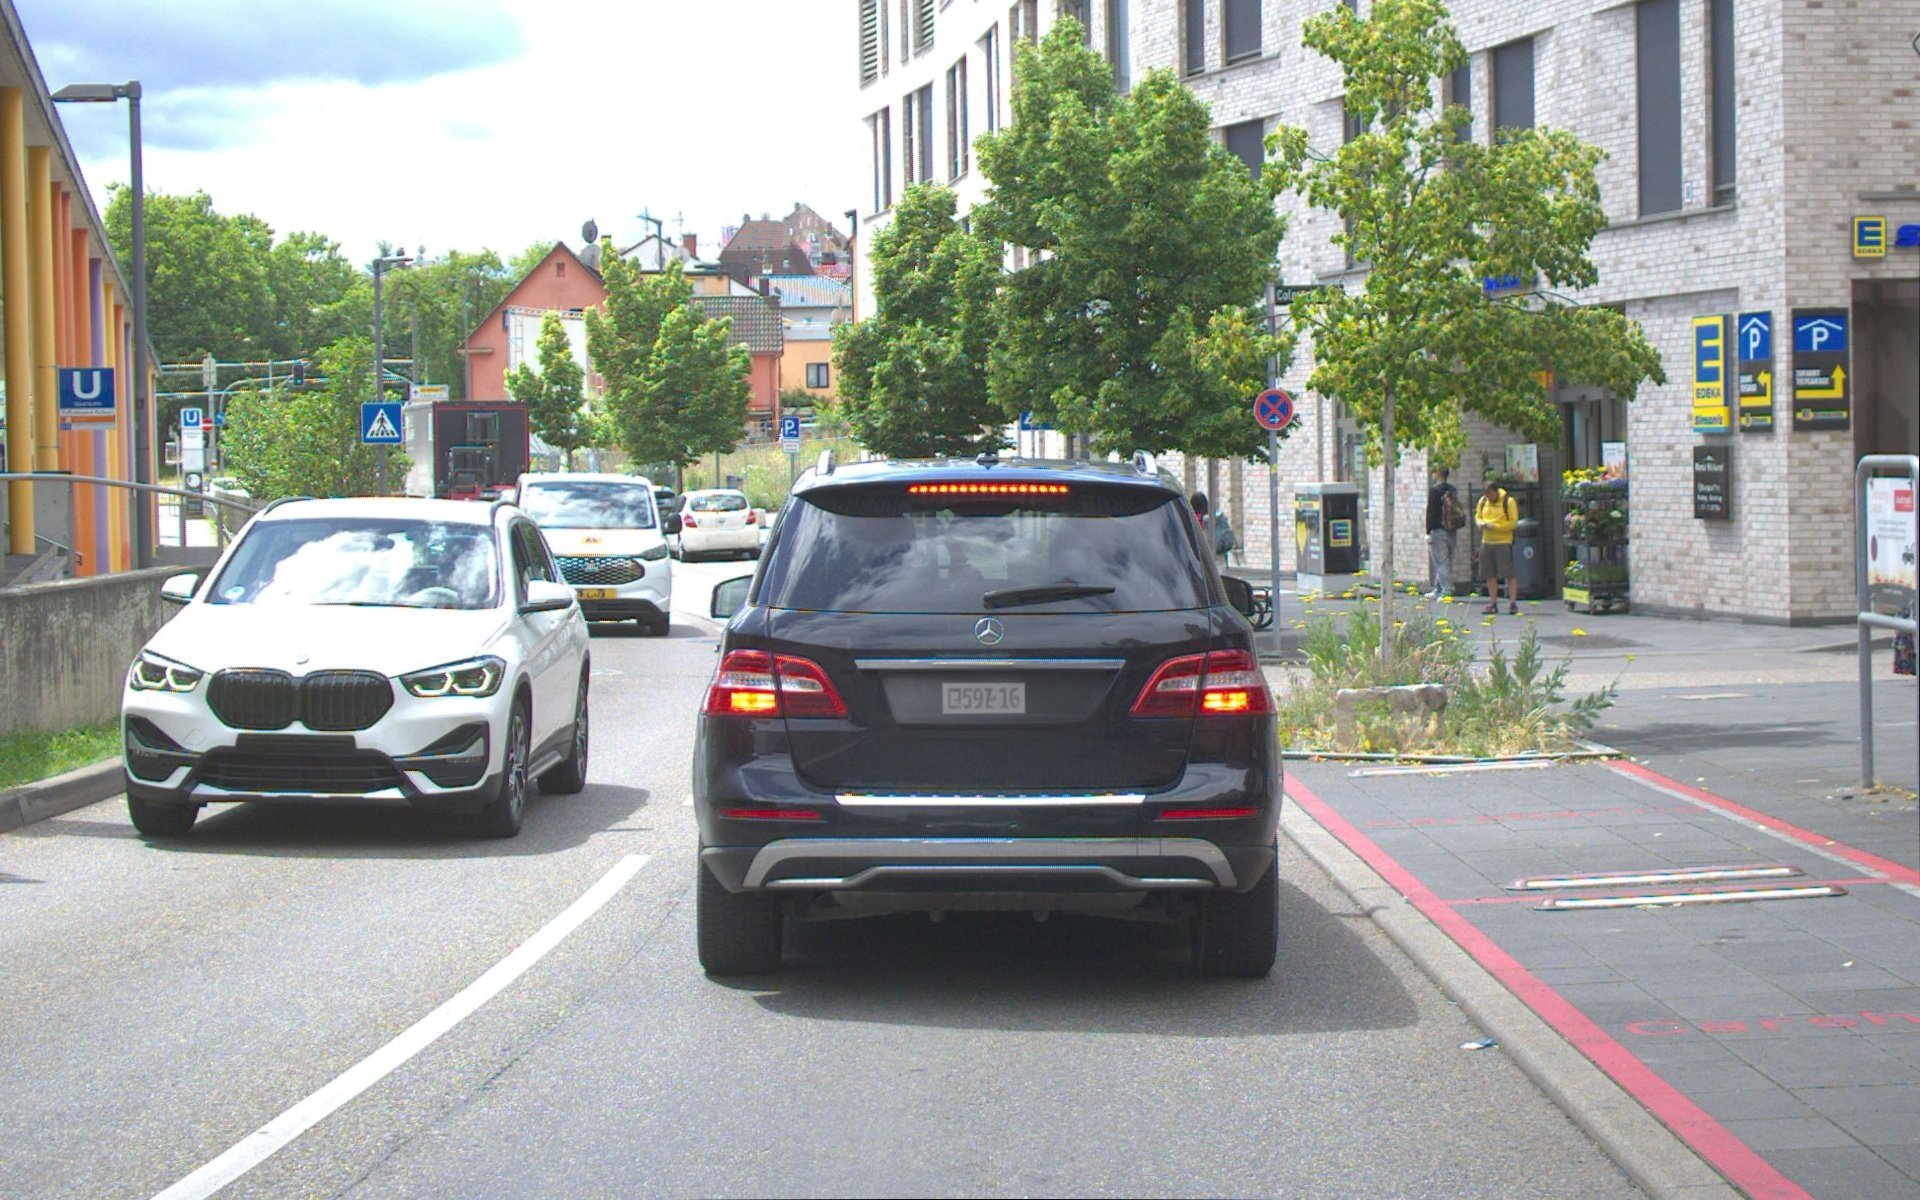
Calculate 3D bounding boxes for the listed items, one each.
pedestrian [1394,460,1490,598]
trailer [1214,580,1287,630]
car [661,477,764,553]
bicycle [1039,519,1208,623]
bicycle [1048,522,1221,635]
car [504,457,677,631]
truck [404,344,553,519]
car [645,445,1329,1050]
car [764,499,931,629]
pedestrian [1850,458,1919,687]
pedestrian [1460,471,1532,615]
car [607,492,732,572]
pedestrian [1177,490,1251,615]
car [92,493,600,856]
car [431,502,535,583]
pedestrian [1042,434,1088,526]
[{"bbox_3d":[6.195,-0.918,44.226,1.014,1.735,0.660,-2,2,-16],"label":"pedestrian"},{"bbox_3d":[3.291,0.054,38.938,0.719,0.526,0.811,-1,2,-3],"label":"trailer"},{"bbox_3d":[-5.351,-1.851,74.006,1.692,1.478,3.799,-3,3,-11],"label":"car"},{"bbox_3d":[1.888,-0.343,39.899,1.822,1.127,0.756,-2,2,-6],"label":"bicycle"},{"bbox_3d":[1.979,-0.255,39.075,1.822,1.196,0.756,-2,2,-6],"label":"bicycle"},{"bbox_3d":[-4.665,-0.734,42.913,1.993,2.006,5.396,1,2,-7],"label":"car"},{"bbox_3d":[-13.312,-4.501,94.356,3.202,4.520,9.032,0,1,-13],"label":"truck"},{"bbox_3d":[0.011,0.360,12.622,1.993,1.740,4.533,-2,2,-2],"label":"car"},{"bbox_3d":[-1.480,-0.496,44.080,1.726,1.451,3.810,-2,3,-8],"label":"car"},{"bbox_3d":[7.101,-0.219,25.229,0.745,1.633,0.925,-1,3,37],"label":"pedestrian"},{"bbox_3d":[6.407,-0.684,41.078,0.658,1.686,0.631,0,2,28],"label":"pedestrian"},{"bbox_3d":[-5.764,-1.363,67.828,1.887,1.460,4.071,-2,2,-12],"label":"car"},{"bbox_3d":[3.199,-0.593,43.316,0.812,1.560,0.930,0,0,-4],"label":"pedestrian"},{"bbox_3d":[-2.948,0.273,17.367,1.822,1.579,4.166,1,2,0],"label":"car"},{"bbox_3d":[-9.079,-1.108,65.223,1.772,1.459,4.236,0,2,-10],"label":"car"},{"bbox_3d":[1.717,-1.963,56.221,0.607,1.467,0.791,-2,3,-5],"label":"pedestrian"}]
